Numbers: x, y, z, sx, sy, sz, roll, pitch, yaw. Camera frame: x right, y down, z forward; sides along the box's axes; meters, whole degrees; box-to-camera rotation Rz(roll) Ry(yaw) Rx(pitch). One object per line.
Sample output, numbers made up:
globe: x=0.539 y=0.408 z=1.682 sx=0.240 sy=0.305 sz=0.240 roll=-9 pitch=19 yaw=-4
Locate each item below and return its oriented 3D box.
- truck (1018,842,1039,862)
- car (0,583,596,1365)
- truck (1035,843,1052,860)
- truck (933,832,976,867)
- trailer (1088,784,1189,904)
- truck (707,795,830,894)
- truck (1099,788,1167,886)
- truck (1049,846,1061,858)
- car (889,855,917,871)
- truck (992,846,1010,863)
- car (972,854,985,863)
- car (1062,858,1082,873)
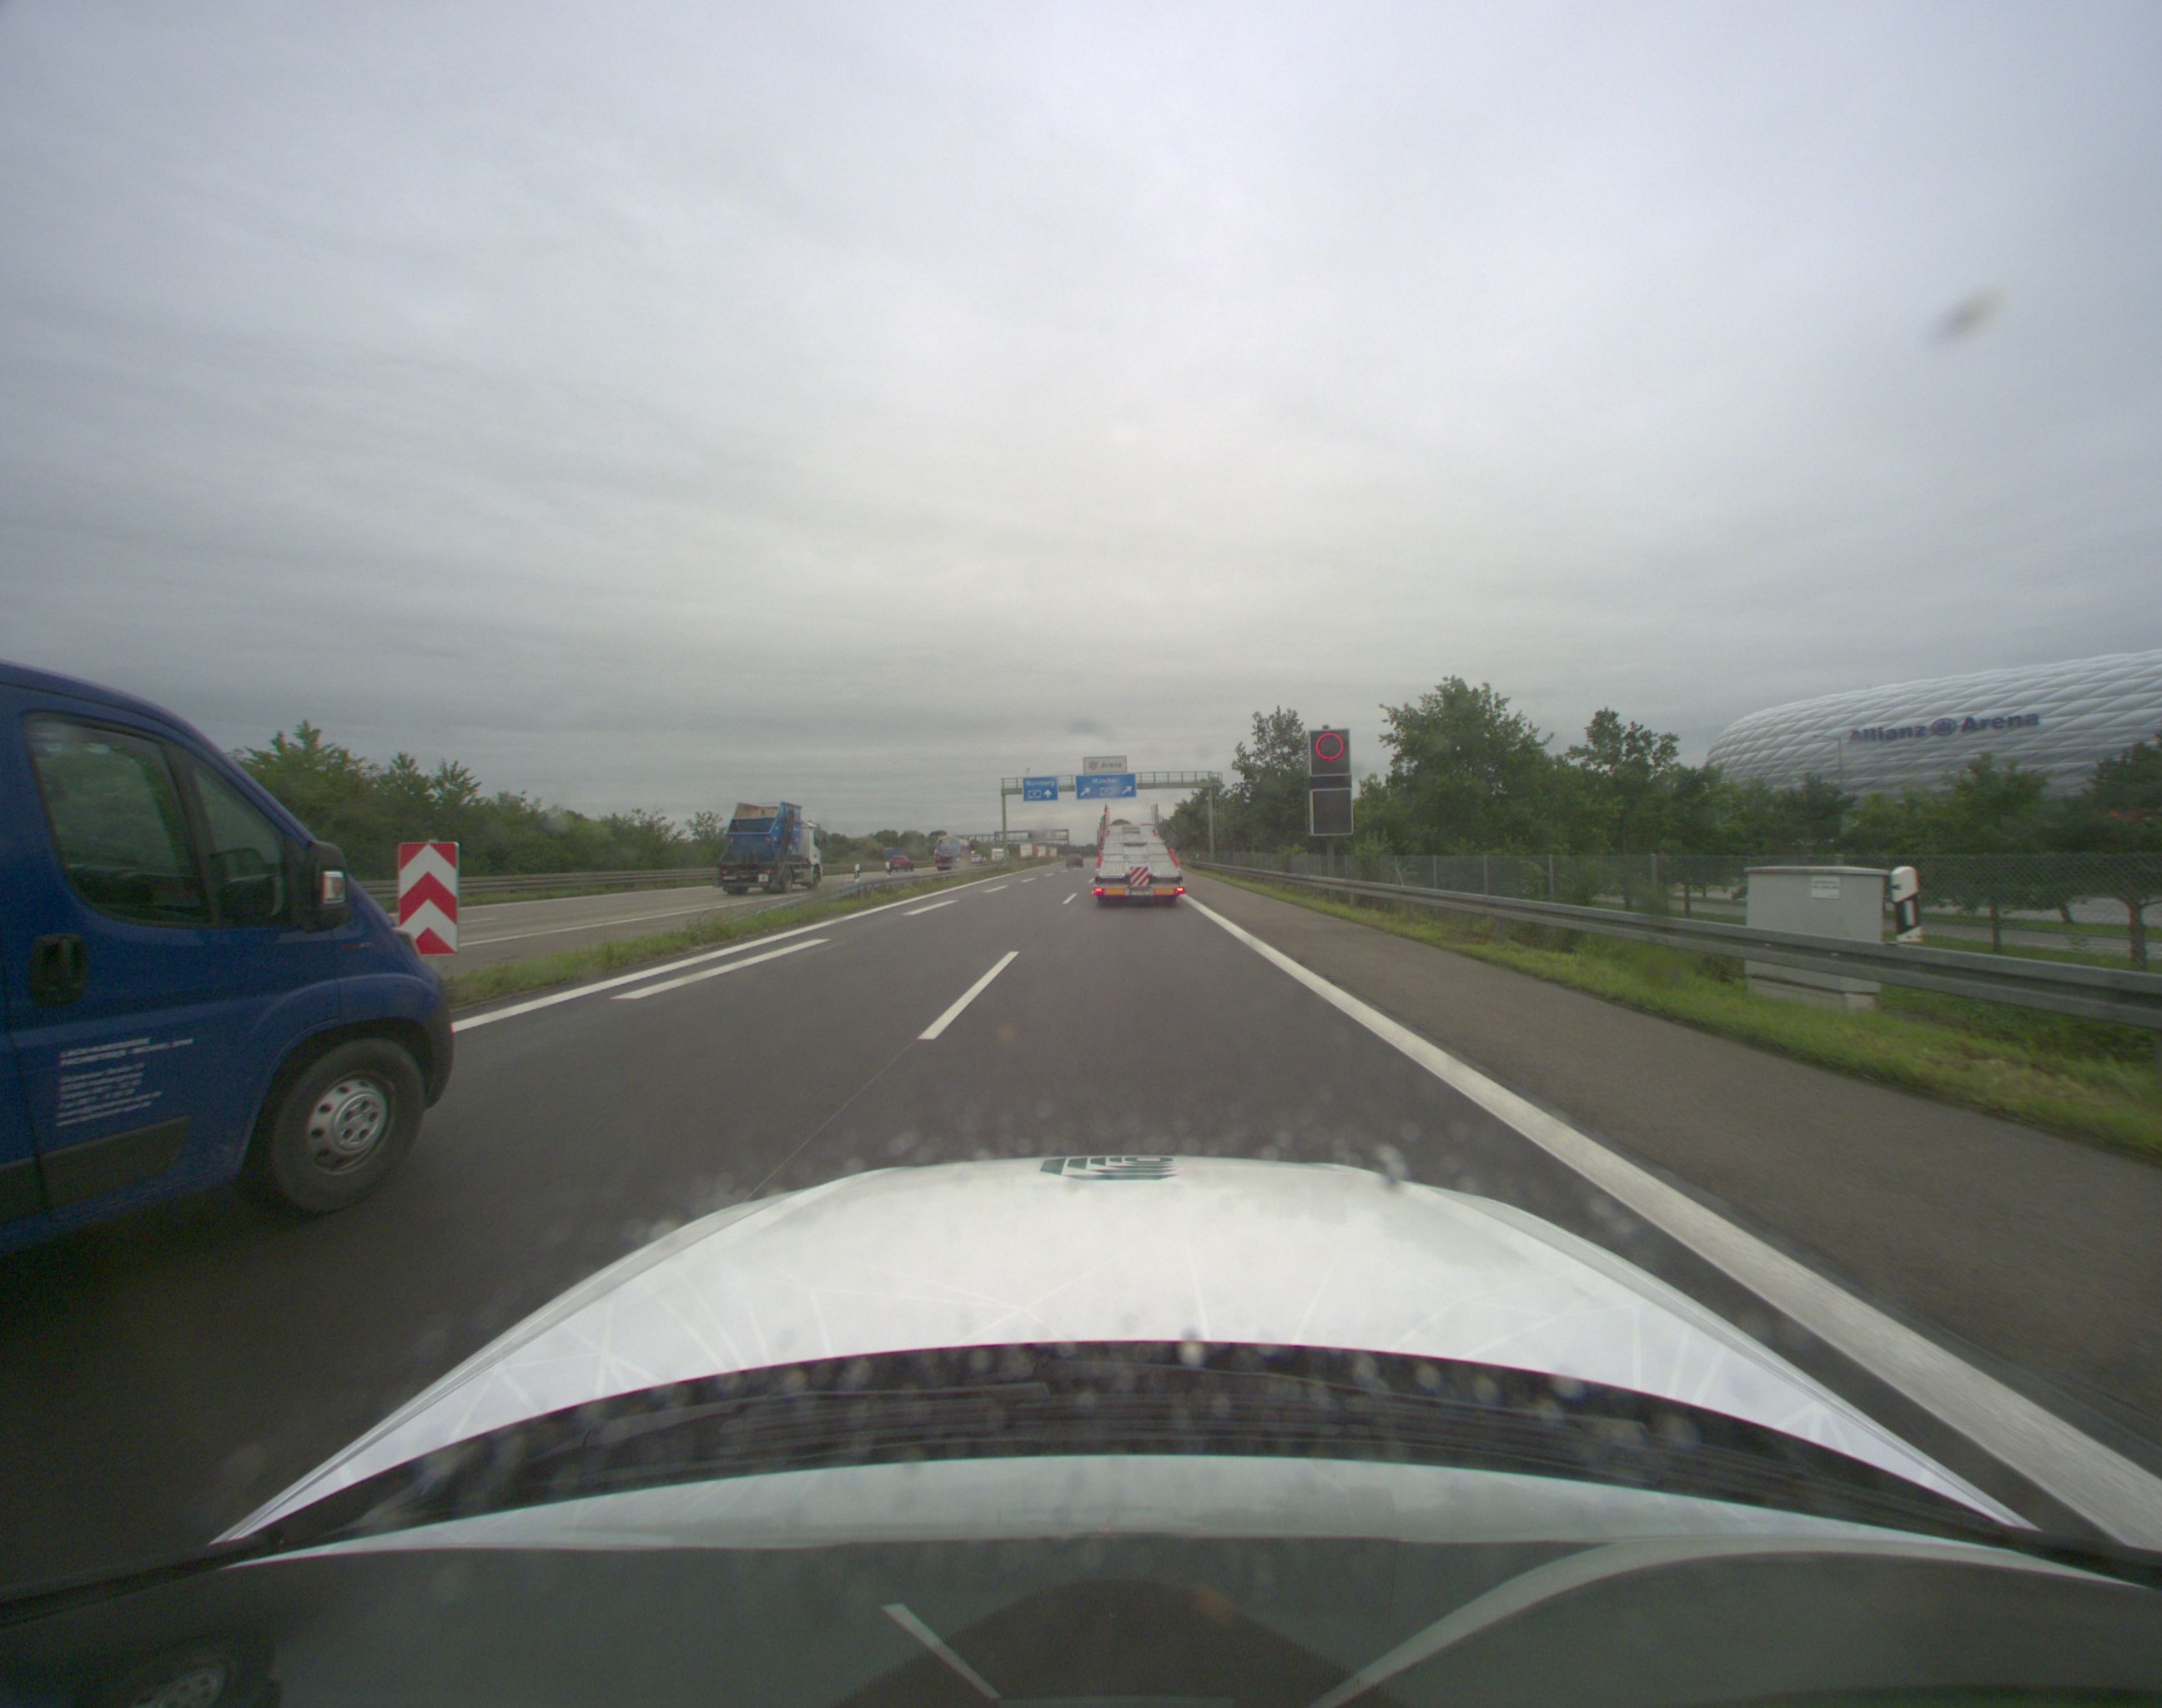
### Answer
truck: x=-11.419 y=-0.455 z=178.661 sx=3.719 sy=4.417 sz=10.199 roll=0 pitch=0 yaw=2
car: x=-4.324 y=0.345 z=2.017 sx=2.364 sy=2.266 sz=6.258 roll=0 pitch=0 yaw=1
truck: x=-10.185 y=-0.620 z=224.037 sx=3.719 sy=4.417 sz=11.901 roll=0 pitch=0 yaw=2
truck: x=-12.966 y=-0.437 z=84.255 sx=2.846 sy=3.365 sz=8.634 roll=-1 pitch=0 yaw=2
trailer: x=1.843 y=-0.302 z=27.666 sx=2.766 sy=3.285 sz=10.415 roll=0 pitch=0 yaw=3
truck: x=-13.194 y=-0.339 z=35.086 sx=2.631 sy=3.812 sz=7.338 roll=0 pitch=-1 yaw=-2
truck: x=2.344 y=-0.707 z=37.506 sx=2.727 sy=3.967 sz=9.135 roll=0 pitch=0 yaw=3
truck: x=-8.318 y=-0.676 z=262.804 sx=3.017 sy=3.685 sz=12.153 roll=0 pitch=0 yaw=2
car: x=-17.391 y=0.874 z=79.539 sx=1.788 sy=1.557 sz=3.827 roll=0 pitch=0 yaw=2
truck: x=-12.637 y=0.088 z=128.689 sx=2.235 sy=2.704 sz=5.281 roll=0 pitch=0 yaw=2
car: x=-16.402 y=0.722 z=130.106 sx=1.677 sy=1.530 sz=3.999 roll=0 pitch=0 yaw=-1
car: x=-0.965 y=1.262 z=89.517 sx=1.954 sy=1.637 sz=5.627 roll=0 pitch=0 yaw=2
